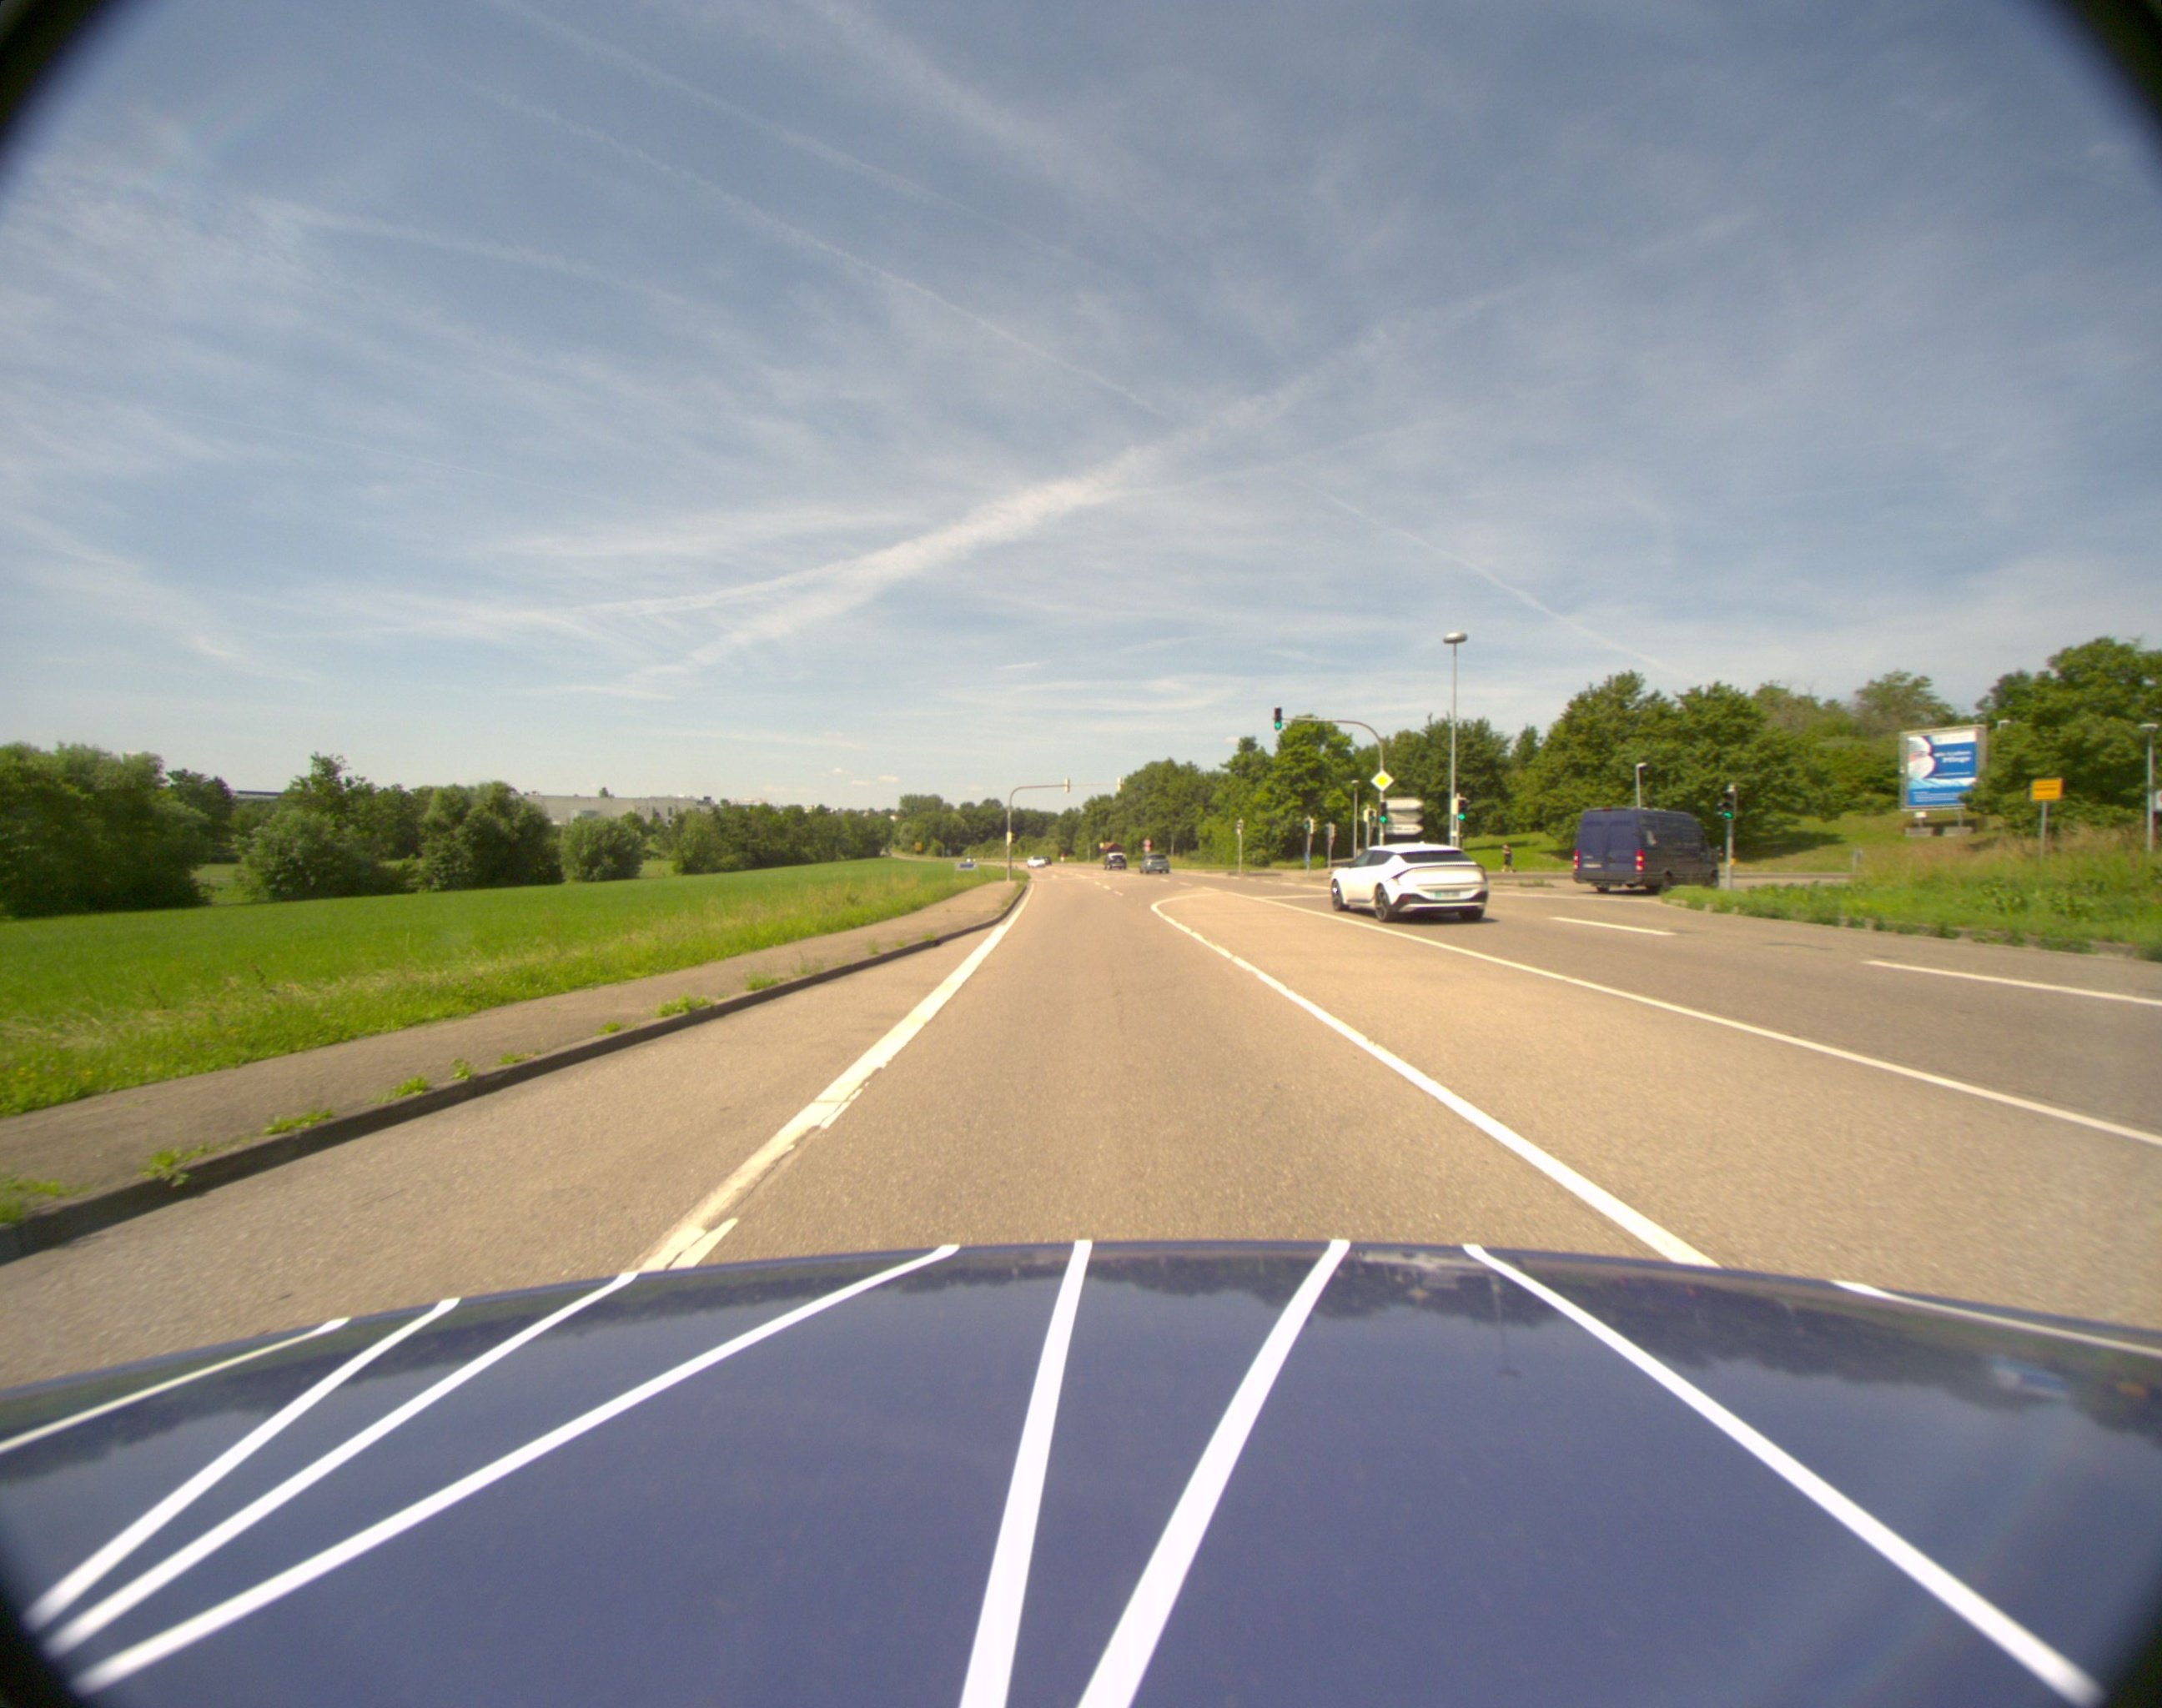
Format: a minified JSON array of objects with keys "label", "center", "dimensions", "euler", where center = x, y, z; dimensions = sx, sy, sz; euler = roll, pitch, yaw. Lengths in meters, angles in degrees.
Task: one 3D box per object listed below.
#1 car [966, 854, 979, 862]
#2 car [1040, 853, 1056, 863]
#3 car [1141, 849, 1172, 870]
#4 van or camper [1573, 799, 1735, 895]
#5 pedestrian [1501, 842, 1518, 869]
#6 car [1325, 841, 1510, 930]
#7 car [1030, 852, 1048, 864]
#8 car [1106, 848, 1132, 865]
[{"label":"car","center":[-23.222,0.792,162.895],"dimensions":[2.001,1.576,3.994],"euler":[-3,1,-17]},{"label":"car","center":[-5.071,0.575,117.026],"dimensions":[1.797,1.466,4.306],"euler":[-2,1,-10]},{"label":"car","center":[5.507,0.369,56.050],"dimensions":[1.711,1.474,3.831],"euler":[-2,1,-2]},{"label":"van or camper","center":[19.676,-0.112,25.935],"dimensions":[7.261,2.896,2.241],"euler":[1,-1,-35]},{"label":"pedestrian","center":[27.686,0.082,49.087],"dimensions":[0.920,1.726,0.901],"euler":[-2,1,32]},{"label":"car","center":[6.837,0.547,16.074],"dimensions":[1.942,1.539,4.627],"euler":[-2,1,2]},{"label":"car","center":[-5.695,0.546,102.801],"dimensions":[2.000,1.576,3.996],"euler":[-3,1,-9]},{"label":"car","center":[3.664,0.225,73.559],"dimensions":[1.980,1.553,4.187],"euler":[-2,1,-4]}]
